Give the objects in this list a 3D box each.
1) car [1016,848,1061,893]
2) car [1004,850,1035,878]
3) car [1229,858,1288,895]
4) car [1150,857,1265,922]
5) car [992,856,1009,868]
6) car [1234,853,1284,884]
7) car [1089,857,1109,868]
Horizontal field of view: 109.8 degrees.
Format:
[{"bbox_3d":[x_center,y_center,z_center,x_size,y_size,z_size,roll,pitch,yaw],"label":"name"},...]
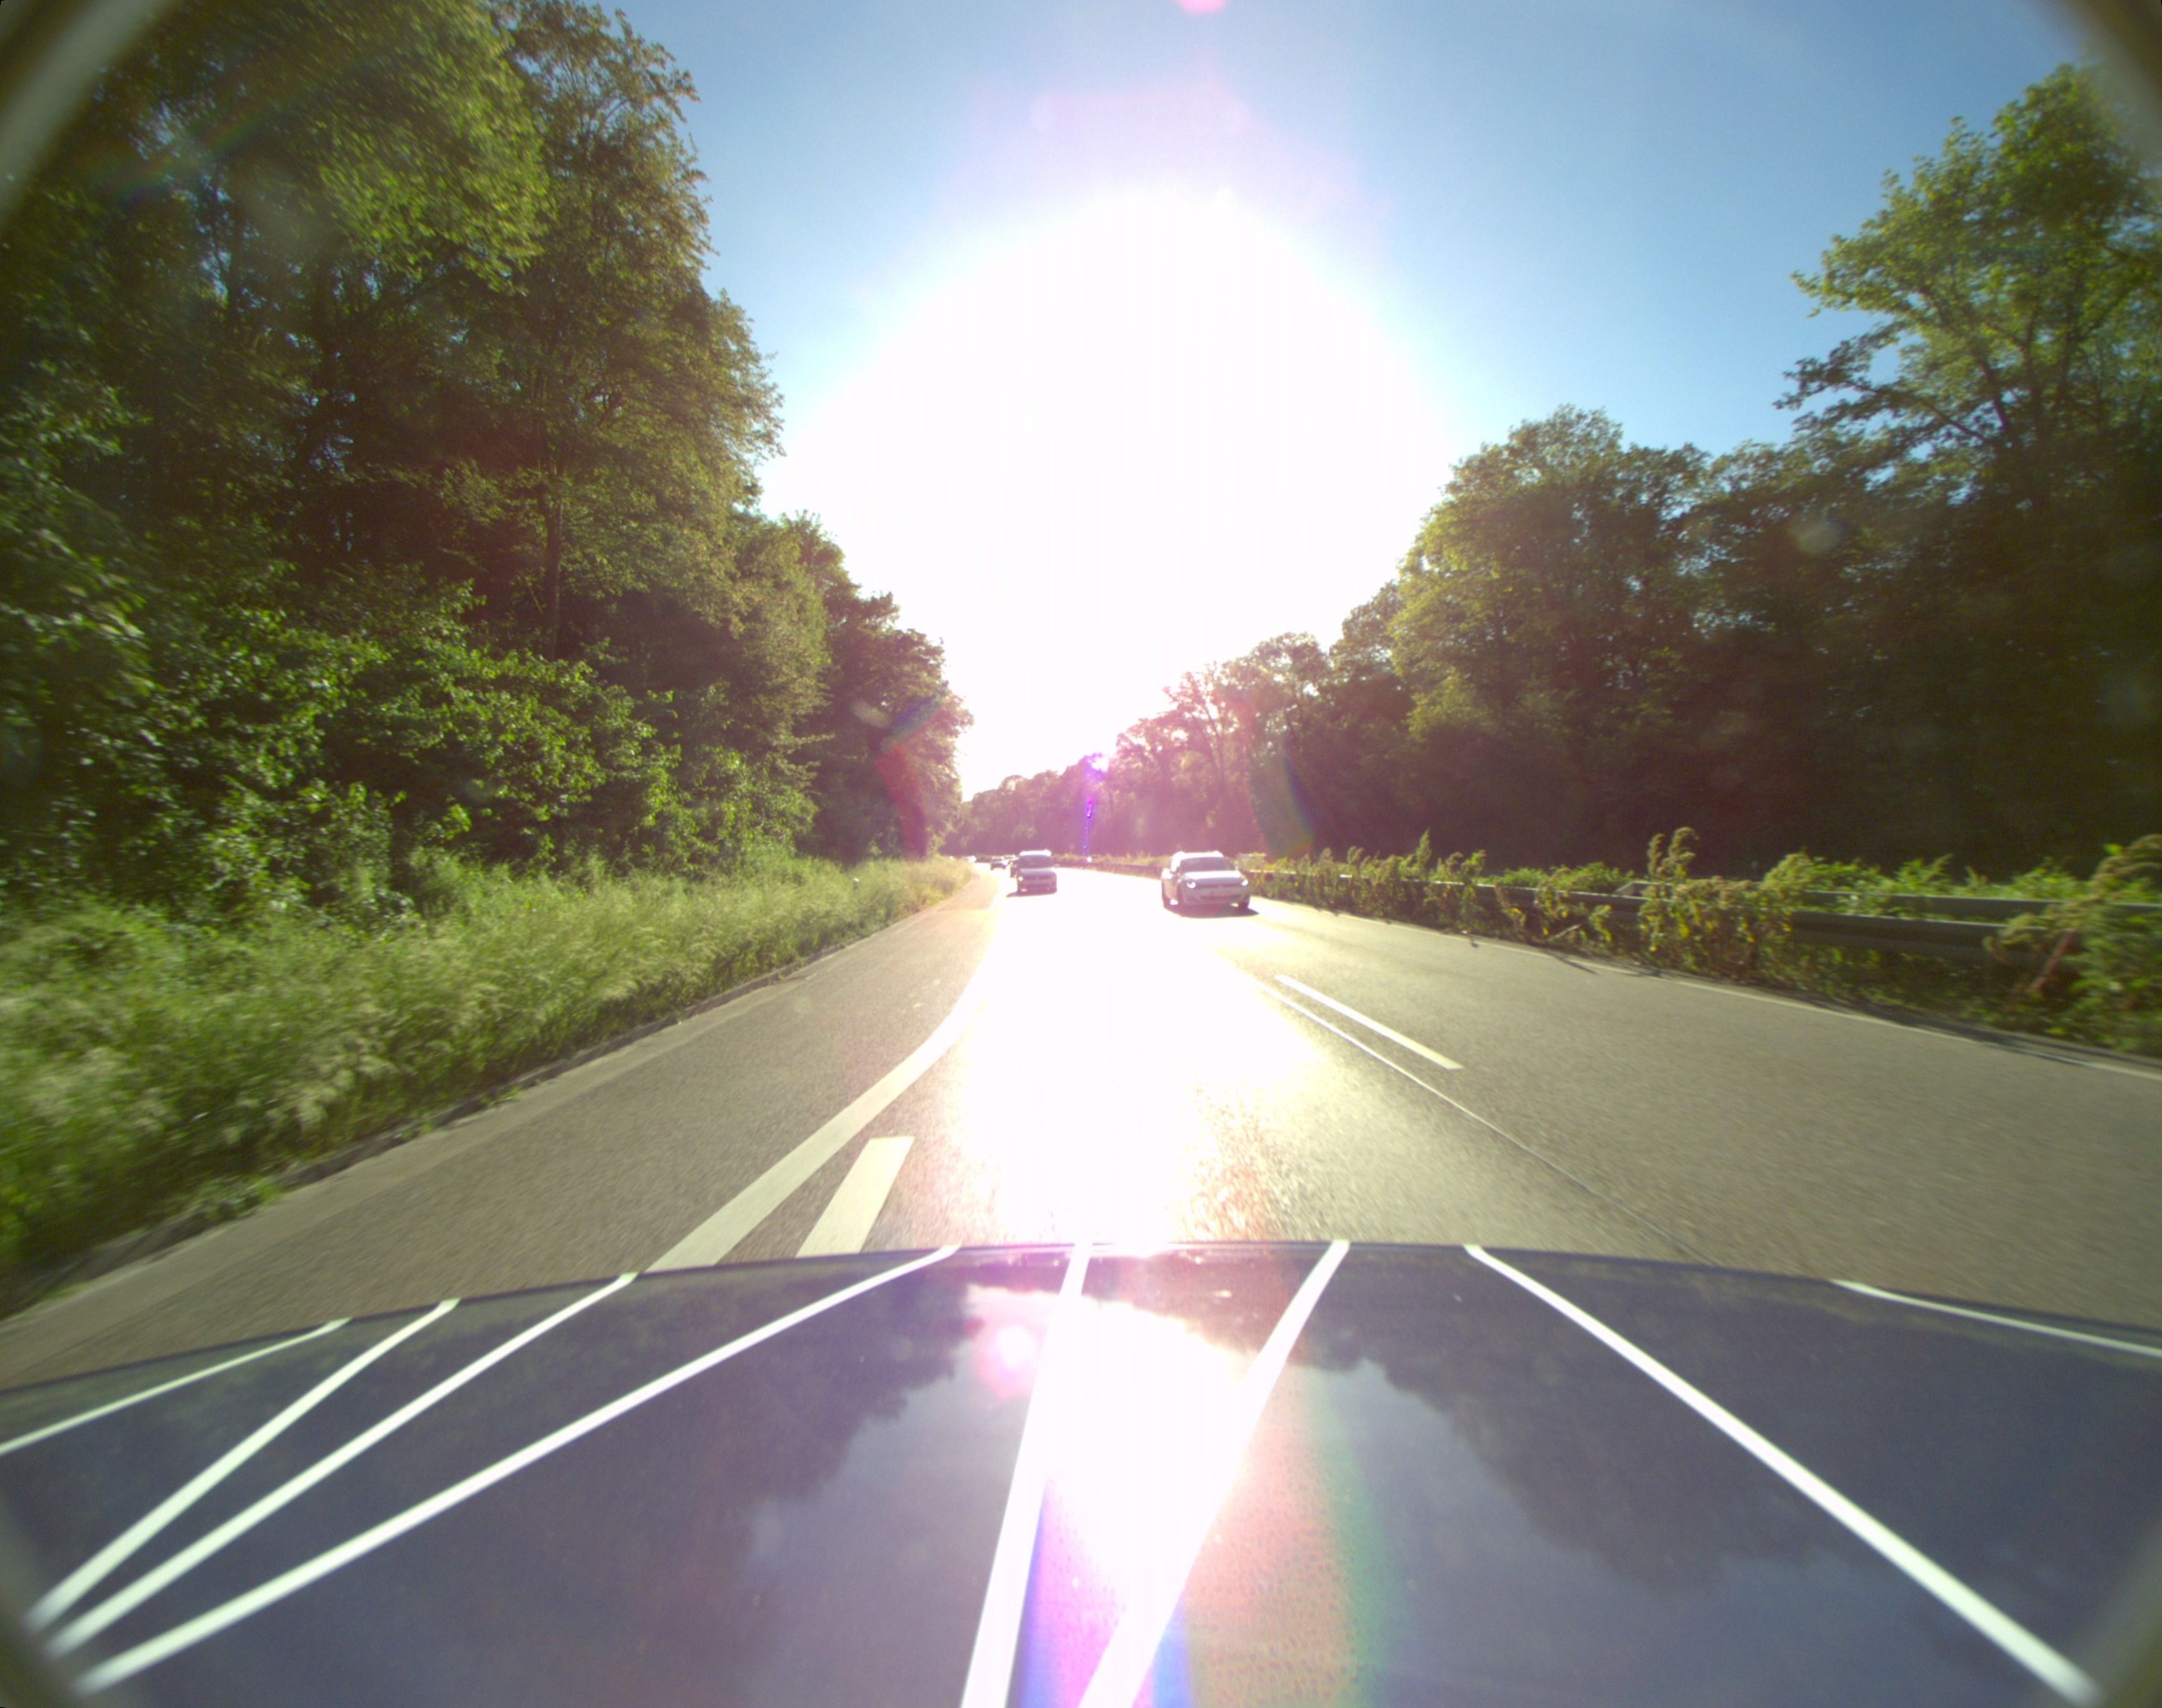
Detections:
[{"bbox_3d":[-1.966,0.690,34.283,1.800,1.796,4.830,-2,1,-4],"label":"car"},{"bbox_3d":[-4.962,0.715,60.690,2.258,1.843,5.136,-3,3,-6],"label":"car"},{"bbox_3d":[10.378,1.285,44.796,2.090,2.002,4.533,-1,0,-4],"label":"car"},{"bbox_3d":[3.348,0.877,21.325,1.935,1.499,5.597,-2,0,-3],"label":"car"},{"bbox_3d":[-10.016,0.968,94.333,1.935,1.499,5.083,-1,0,-7],"label":"car"},{"bbox_3d":[12.928,1.025,55.553,2.053,2.002,4.758,-2,1,-6],"label":"car"},{"bbox_3d":[2.737,1.345,117.073,2.000,1.477,5.233,-2,1,-12],"label":"car"}]
